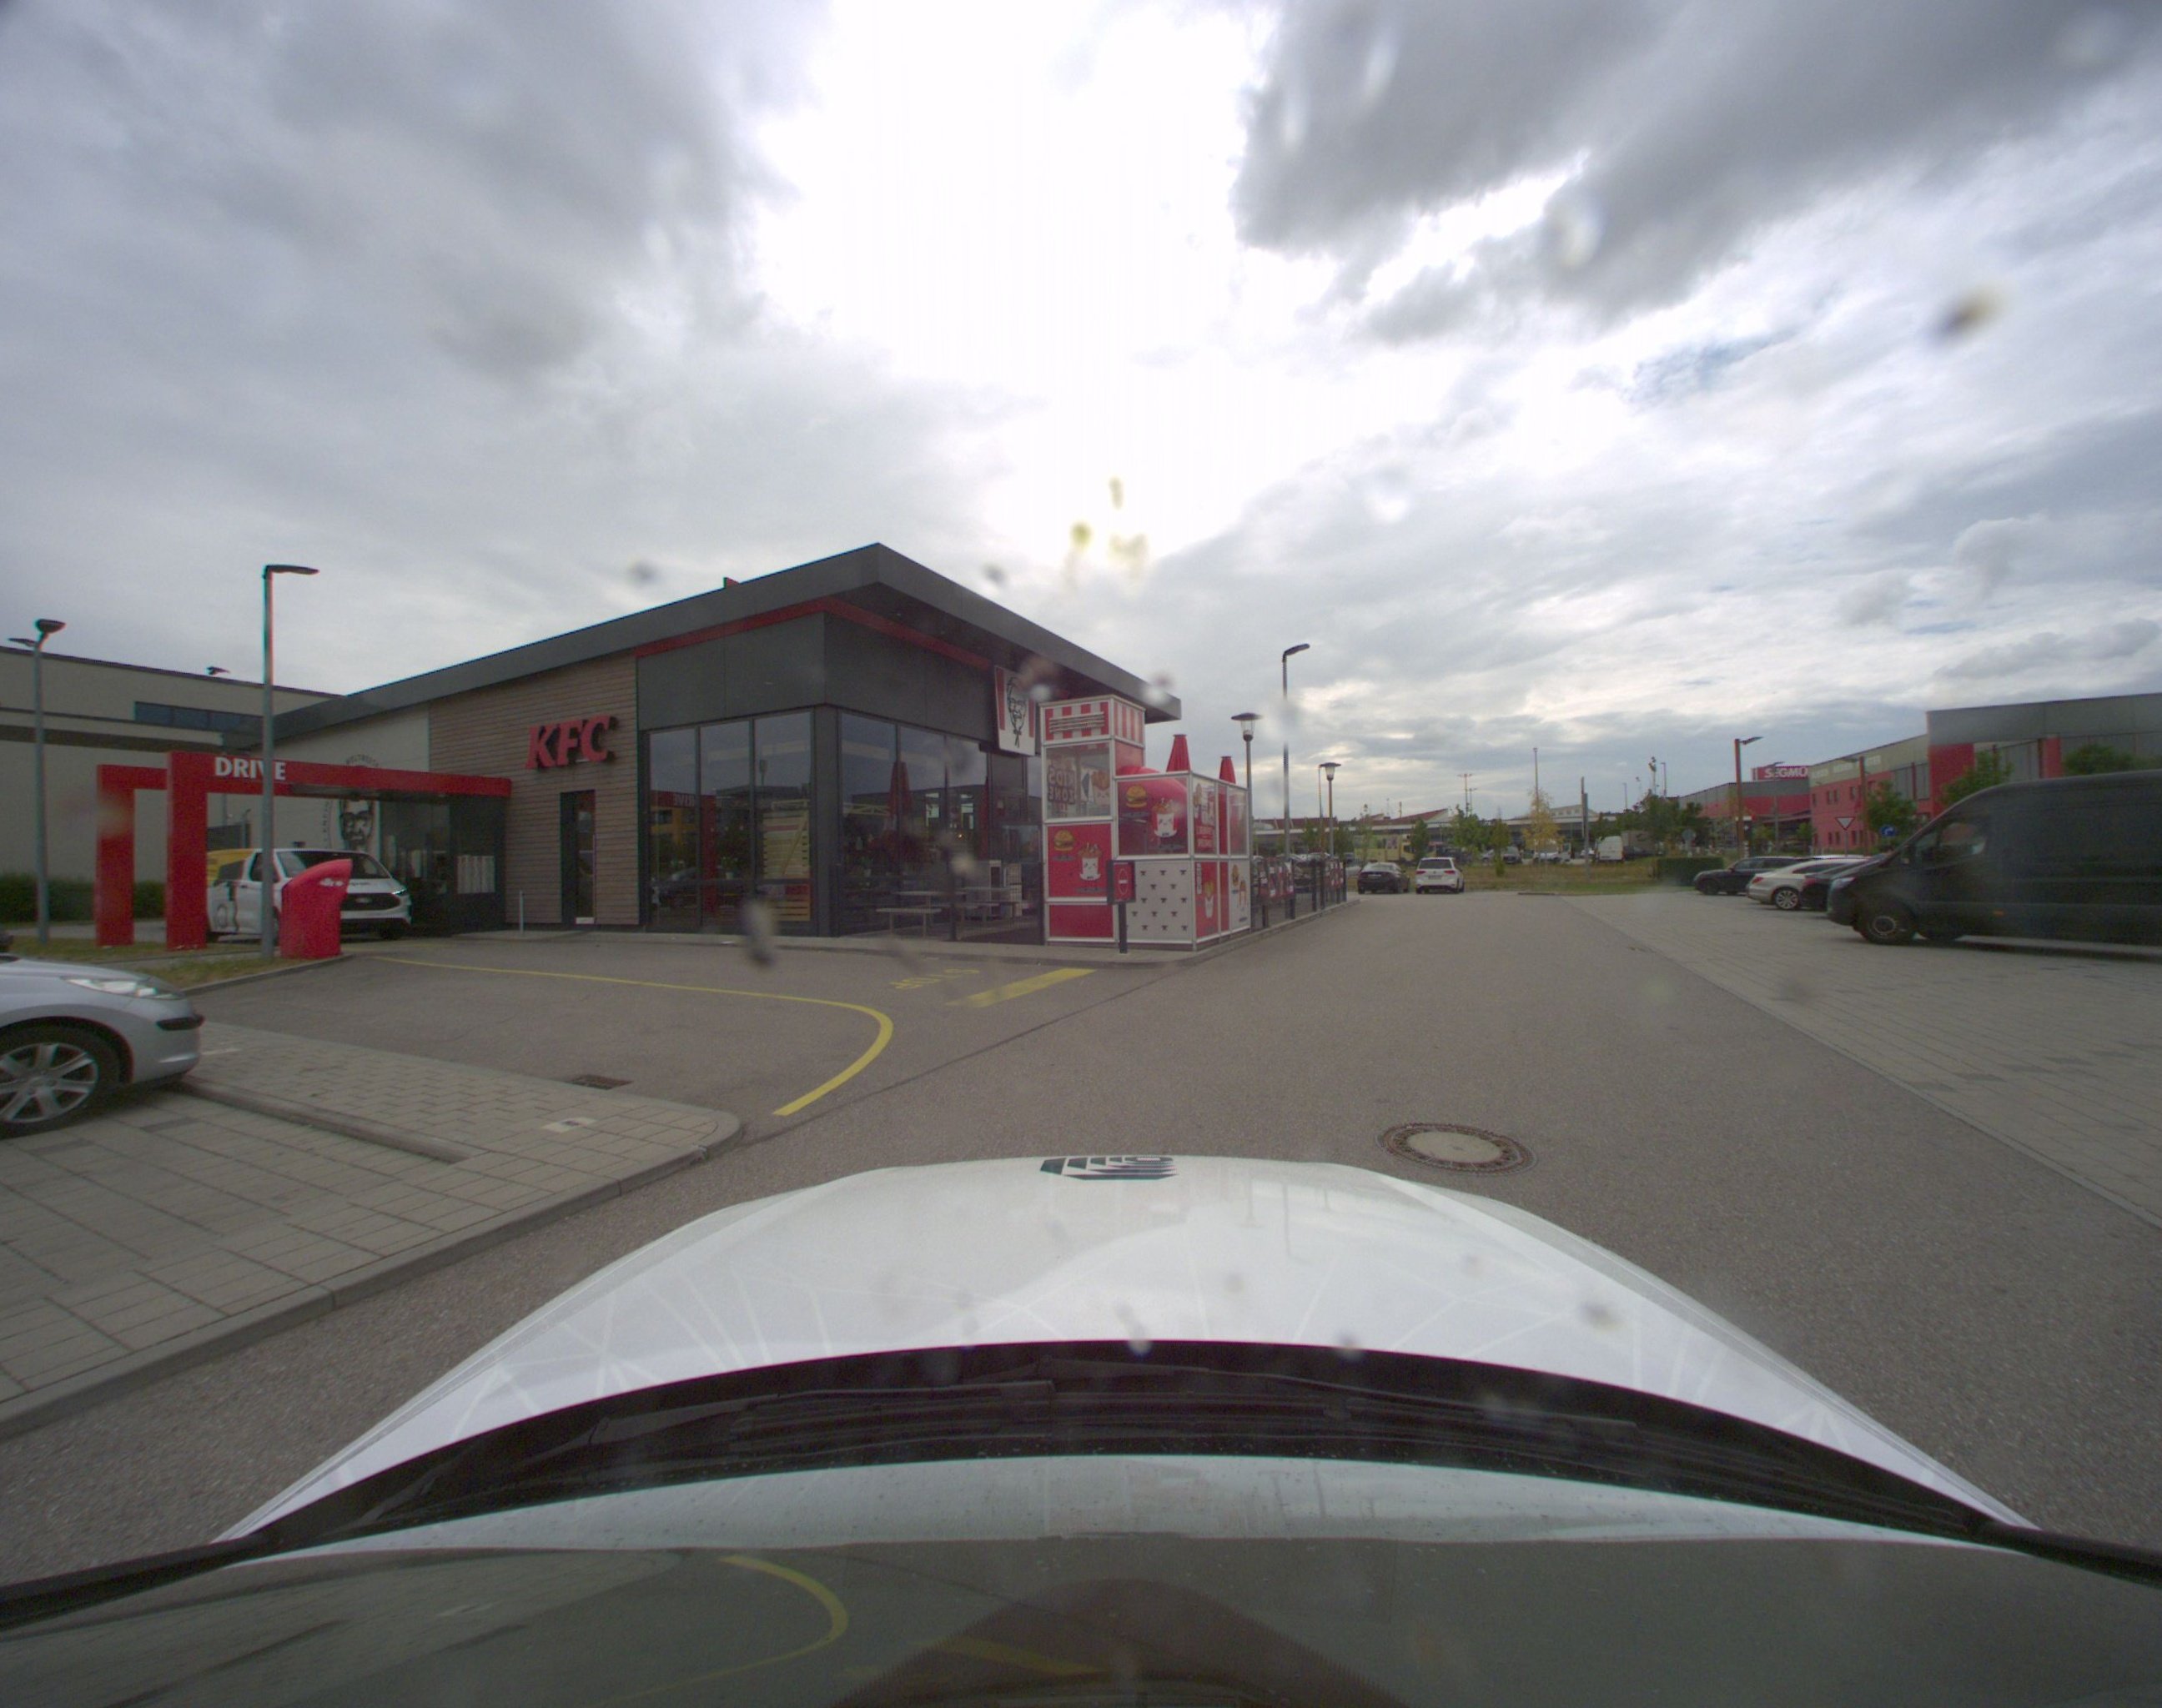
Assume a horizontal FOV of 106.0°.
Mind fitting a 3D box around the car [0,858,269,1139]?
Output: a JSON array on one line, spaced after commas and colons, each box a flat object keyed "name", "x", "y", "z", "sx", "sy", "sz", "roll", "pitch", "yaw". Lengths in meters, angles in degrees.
[{"name": "car", "x": -7.010, "y": 0.819, "z": 3.831, "sx": 1.609, "sy": 1.505, "sz": 4.193, "roll": -2, "pitch": 0, "yaw": 25}]

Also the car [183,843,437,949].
[{"name": "car", "x": -16.072, "y": 0.833, "z": 16.944, "sx": 5.058, "sy": 1.931, "sz": 2.295, "roll": -2, "pitch": -1, "yaw": 27}]

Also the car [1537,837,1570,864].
[{"name": "car", "x": 43.502, "y": -0.364, "z": 75.038, "sx": 2.385, "sy": 2.214, "sz": 6.097, "roll": -1, "pitch": 1, "yaw": 28}]

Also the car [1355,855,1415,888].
[{"name": "car", "x": 14.509, "y": 0.875, "z": 38.742, "sx": 1.922, "sy": 1.466, "sz": 4.544, "roll": -1, "pitch": -2, "yaw": 30}]

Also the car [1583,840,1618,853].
[{"name": "car", "x": 72.036, "y": -1.036, "z": 112.990, "sx": 3.948, "sy": 1.736, "sz": 1.947, "roll": -2, "pitch": 1, "yaw": 31}]

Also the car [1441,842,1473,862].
[{"name": "car", "x": 36.757, "y": -0.193, "z": 79.592, "sx": 2.051, "sy": 1.884, "sz": 5.102, "roll": -1, "pitch": -1, "yaw": 34}]

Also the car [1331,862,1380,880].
[{"name": "car", "x": 22.218, "y": 1.373, "z": 65.969, "sx": 3.415, "sy": 1.370, "sz": 1.442, "roll": -2, "pitch": 1, "yaw": 32}]

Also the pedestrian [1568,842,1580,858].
[{"name": "pedestrian", "x": 44.047, "y": -0.344, "z": 72.749, "sx": 0.778, "sy": 1.429, "sz": 0.983, "roll": -2, "pitch": 0, "yaw": 24}]

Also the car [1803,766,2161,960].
[{"name": "car", "x": 15.006, "y": 0.112, "z": 11.539, "sx": 2.074, "sy": 2.553, "sz": 6.962, "roll": 0, "pitch": 0, "yaw": -22}]

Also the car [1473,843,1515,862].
[{"name": "car", "x": 46.077, "y": -0.190, "z": 91.024, "sx": 3.953, "sy": 2.013, "sz": 2.011, "roll": -2, "pitch": 1, "yaw": 21}]

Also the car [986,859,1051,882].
[{"name": "car", "x": -3.914, "y": 1.076, "z": 51.448, "sx": 1.816, "sy": 1.412, "sz": 3.963, "roll": -2, "pitch": -3, "yaw": 42}]

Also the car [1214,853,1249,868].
[{"name": "car", "x": 18.630, "y": 0.808, "z": 100.839, "sx": 2.007, "sy": 1.771, "sz": 3.959, "roll": -3, "pitch": 1, "yaw": -32}]

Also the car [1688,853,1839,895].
[{"name": "car", "x": 24.848, "y": 0.696, "z": 29.820, "sx": 1.690, "sy": 1.412, "sz": 3.898, "roll": 0, "pitch": 0, "yaw": -25}]

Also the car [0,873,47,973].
[{"name": "car", "x": -16.697, "y": 1.055, "z": 10.651, "sx": 1.414, "sy": 1.395, "sz": 3.706, "roll": -2, "pitch": 1, "yaw": 29}]

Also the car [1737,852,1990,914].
[{"name": "car", "x": 20.077, "y": 0.675, "z": 21.164, "sx": 1.755, "sy": 1.412, "sz": 4.426, "roll": 0, "pitch": 0, "yaw": -23}]

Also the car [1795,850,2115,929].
[{"name": "car", "x": 18.363, "y": 0.661, "z": 17.425, "sx": 1.688, "sy": 1.463, "sz": 4.376, "roll": 0, "pitch": 0, "yaw": -21}]

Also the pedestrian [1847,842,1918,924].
[{"name": "pedestrian", "x": 17.061, "y": 0.607, "z": 17.349, "sx": 0.750, "sy": 1.678, "sz": 0.836, "roll": 1, "pitch": -1, "yaw": -22}]

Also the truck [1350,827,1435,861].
[{"name": "truck", "x": 31.664, "y": -0.950, "z": 83.265, "sx": 3.033, "sy": 3.196, "sz": 8.366, "roll": -2, "pitch": 1, "yaw": -24}]

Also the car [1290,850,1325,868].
[{"name": "car", "x": 24.643, "y": 0.511, "z": 88.438, "sx": 1.906, "sy": 1.771, "sz": 4.348, "roll": -2, "pitch": 1, "yaw": 41}]

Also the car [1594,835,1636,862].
[{"name": "car", "x": 47.573, "y": -0.536, "z": 72.690, "sx": 2.316, "sy": 2.267, "sz": 6.545, "roll": -2, "pitch": 1, "yaw": 26}]

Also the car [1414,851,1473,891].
[{"name": "car", "x": 16.694, "y": 0.818, "z": 37.399, "sx": 1.967, "sy": 1.713, "sz": 4.399, "roll": -1, "pitch": -2, "yaw": 30}]

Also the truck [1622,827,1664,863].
[{"name": "truck", "x": 61.403, "y": -1.070, "z": 89.122, "sx": 2.623, "sy": 3.743, "sz": 8.307, "roll": -2, "pitch": 1, "yaw": 27}]

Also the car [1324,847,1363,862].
[{"name": "car", "x": 32.611, "y": 0.076, "z": 101.309, "sx": 4.266, "sy": 1.771, "sz": 2.012, "roll": -2, "pitch": 1, "yaw": 28}]

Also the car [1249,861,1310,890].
[{"name": "car", "x": 10.090, "y": 1.111, "z": 41.225, "sx": 1.864, "sy": 1.412, "sz": 4.095, "roll": -1, "pitch": -2, "yaw": 30}]

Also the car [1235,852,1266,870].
[{"name": "car", "x": 19.530, "y": 0.805, "z": 93.516, "sx": 1.974, "sy": 1.771, "sz": 4.349, "roll": -2, "pitch": 1, "yaw": 33}]

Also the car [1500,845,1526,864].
[{"name": "car", "x": 40.562, "y": 0.017, "z": 76.404, "sx": 2.051, "sy": 1.638, "sz": 5.102, "roll": -1, "pitch": 1, "yaw": 28}]
